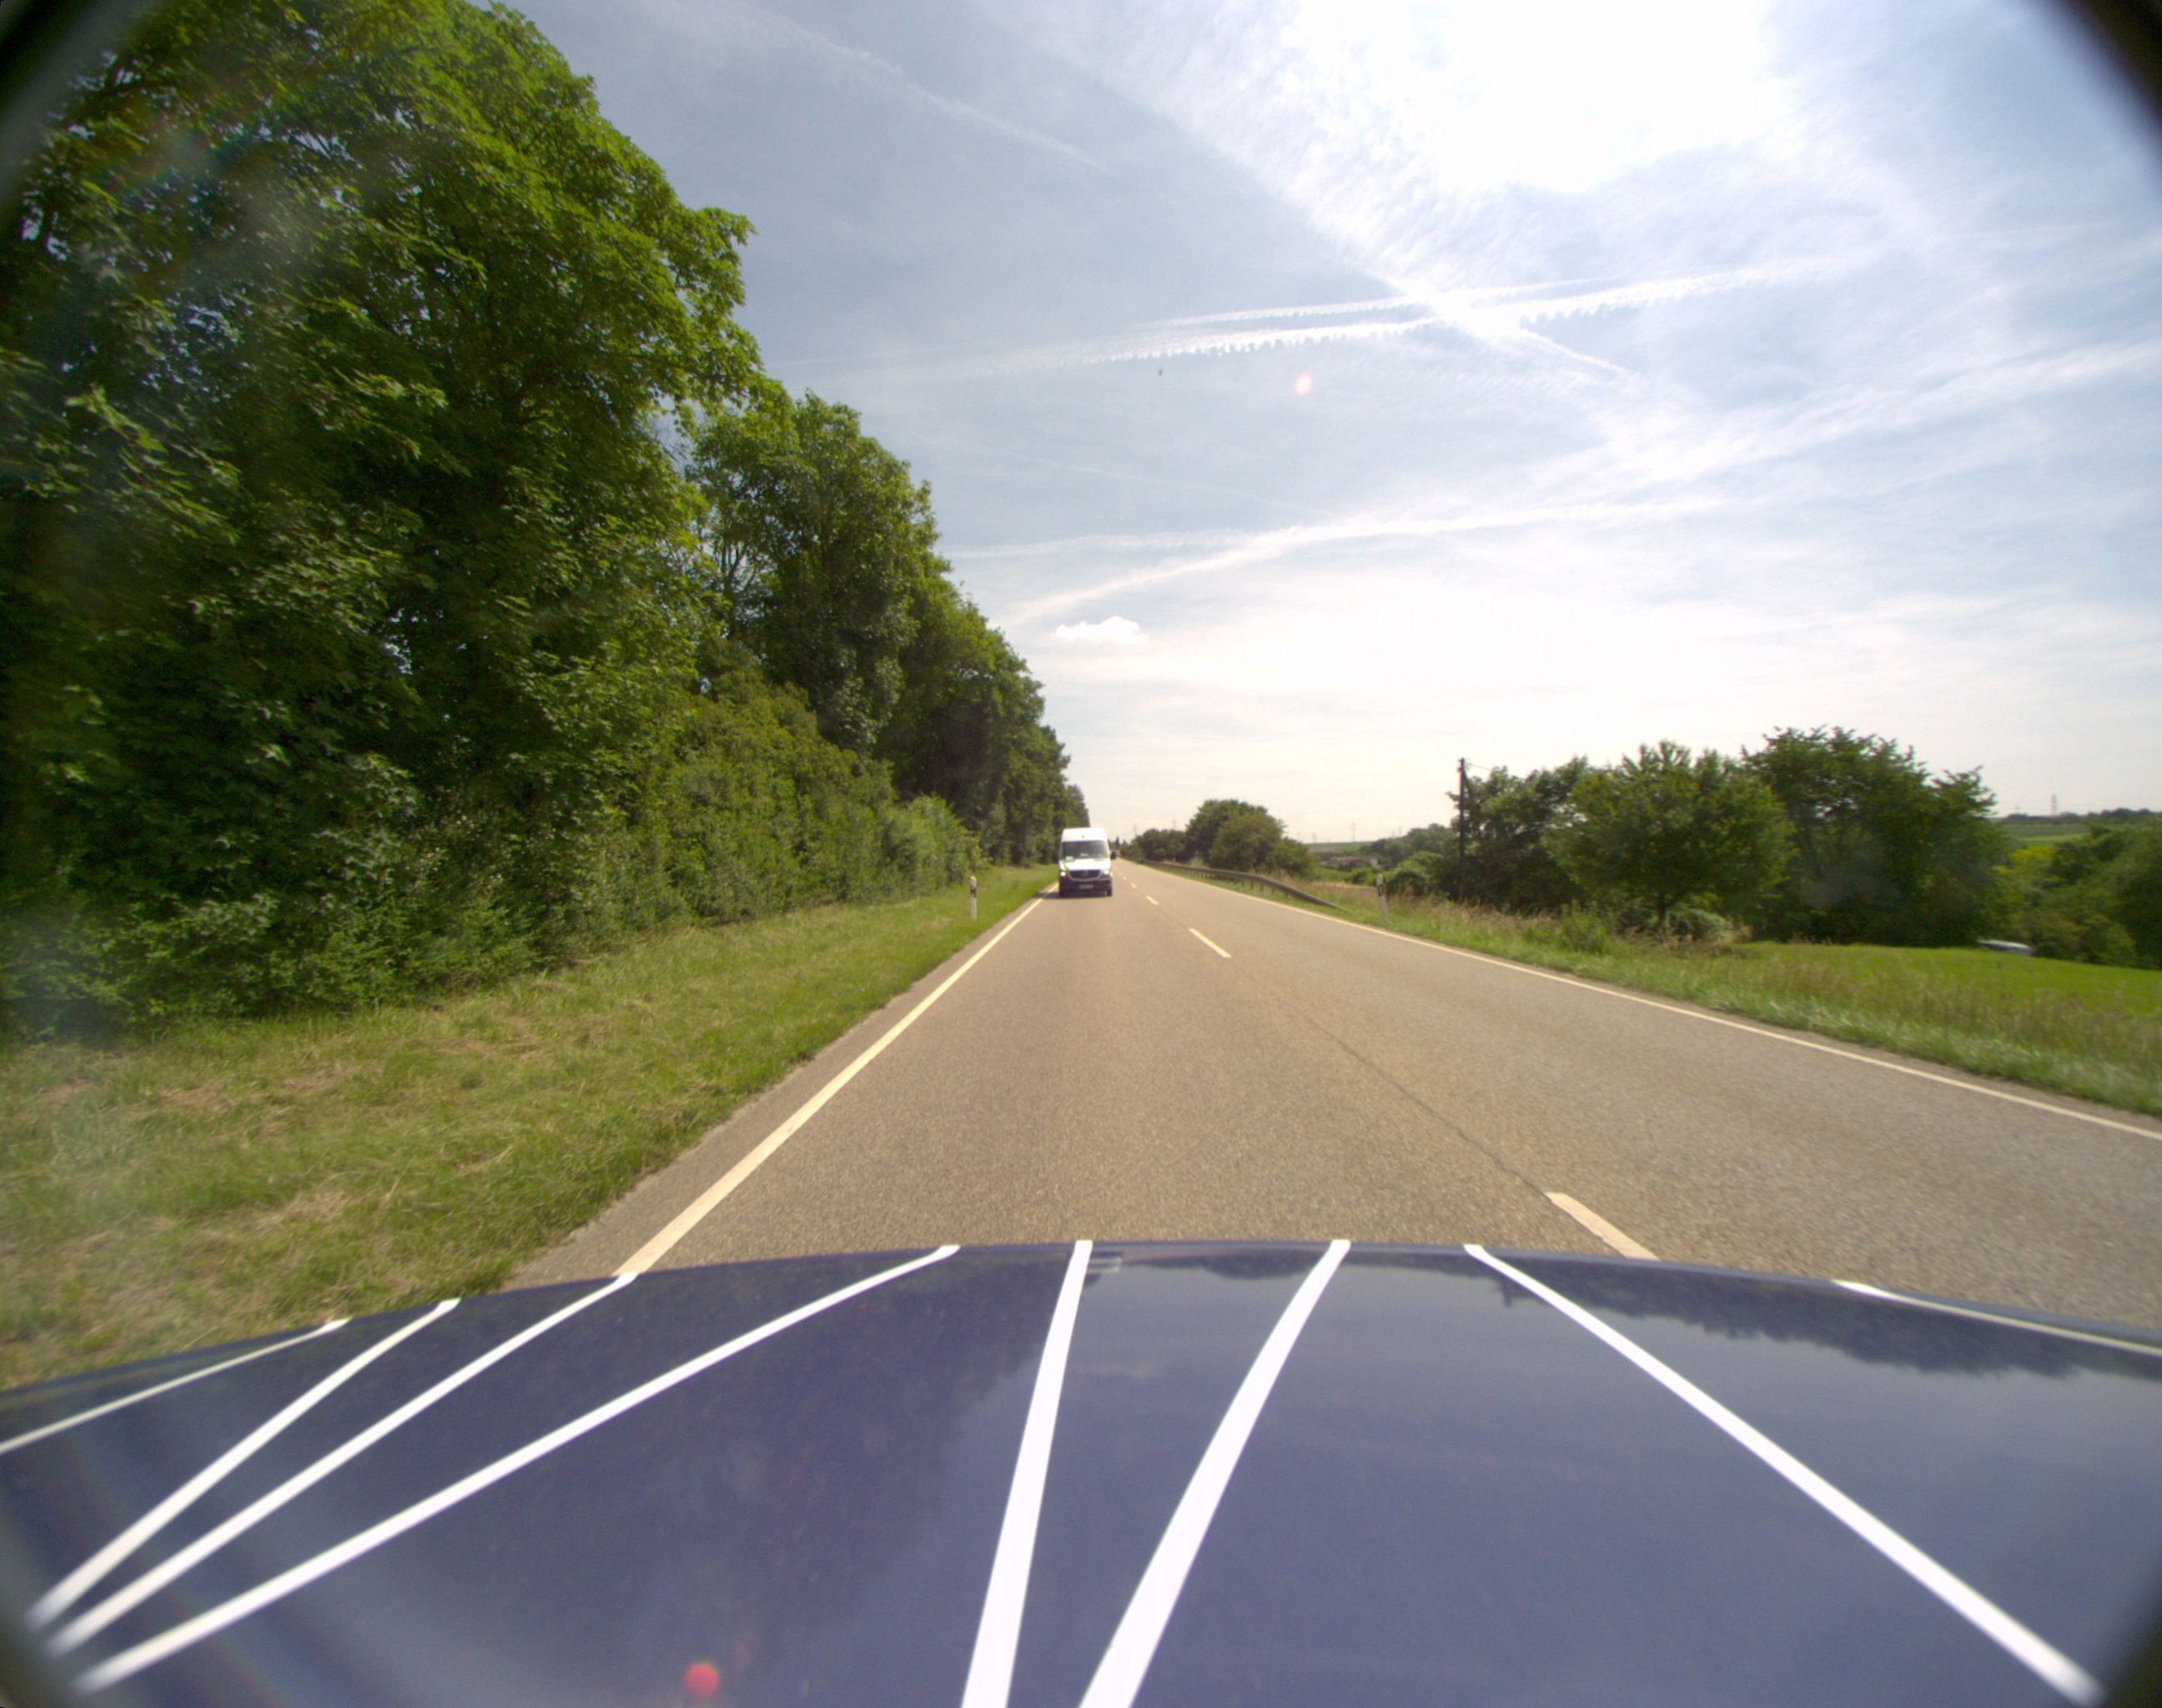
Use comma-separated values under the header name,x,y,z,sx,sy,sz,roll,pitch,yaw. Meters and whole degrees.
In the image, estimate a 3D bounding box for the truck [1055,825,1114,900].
name,x,y,z,sx,sy,sz,roll,pitch,yaw
truck,0.255,0.277,30.336,2.022,2.568,7.226,-2,0,2
